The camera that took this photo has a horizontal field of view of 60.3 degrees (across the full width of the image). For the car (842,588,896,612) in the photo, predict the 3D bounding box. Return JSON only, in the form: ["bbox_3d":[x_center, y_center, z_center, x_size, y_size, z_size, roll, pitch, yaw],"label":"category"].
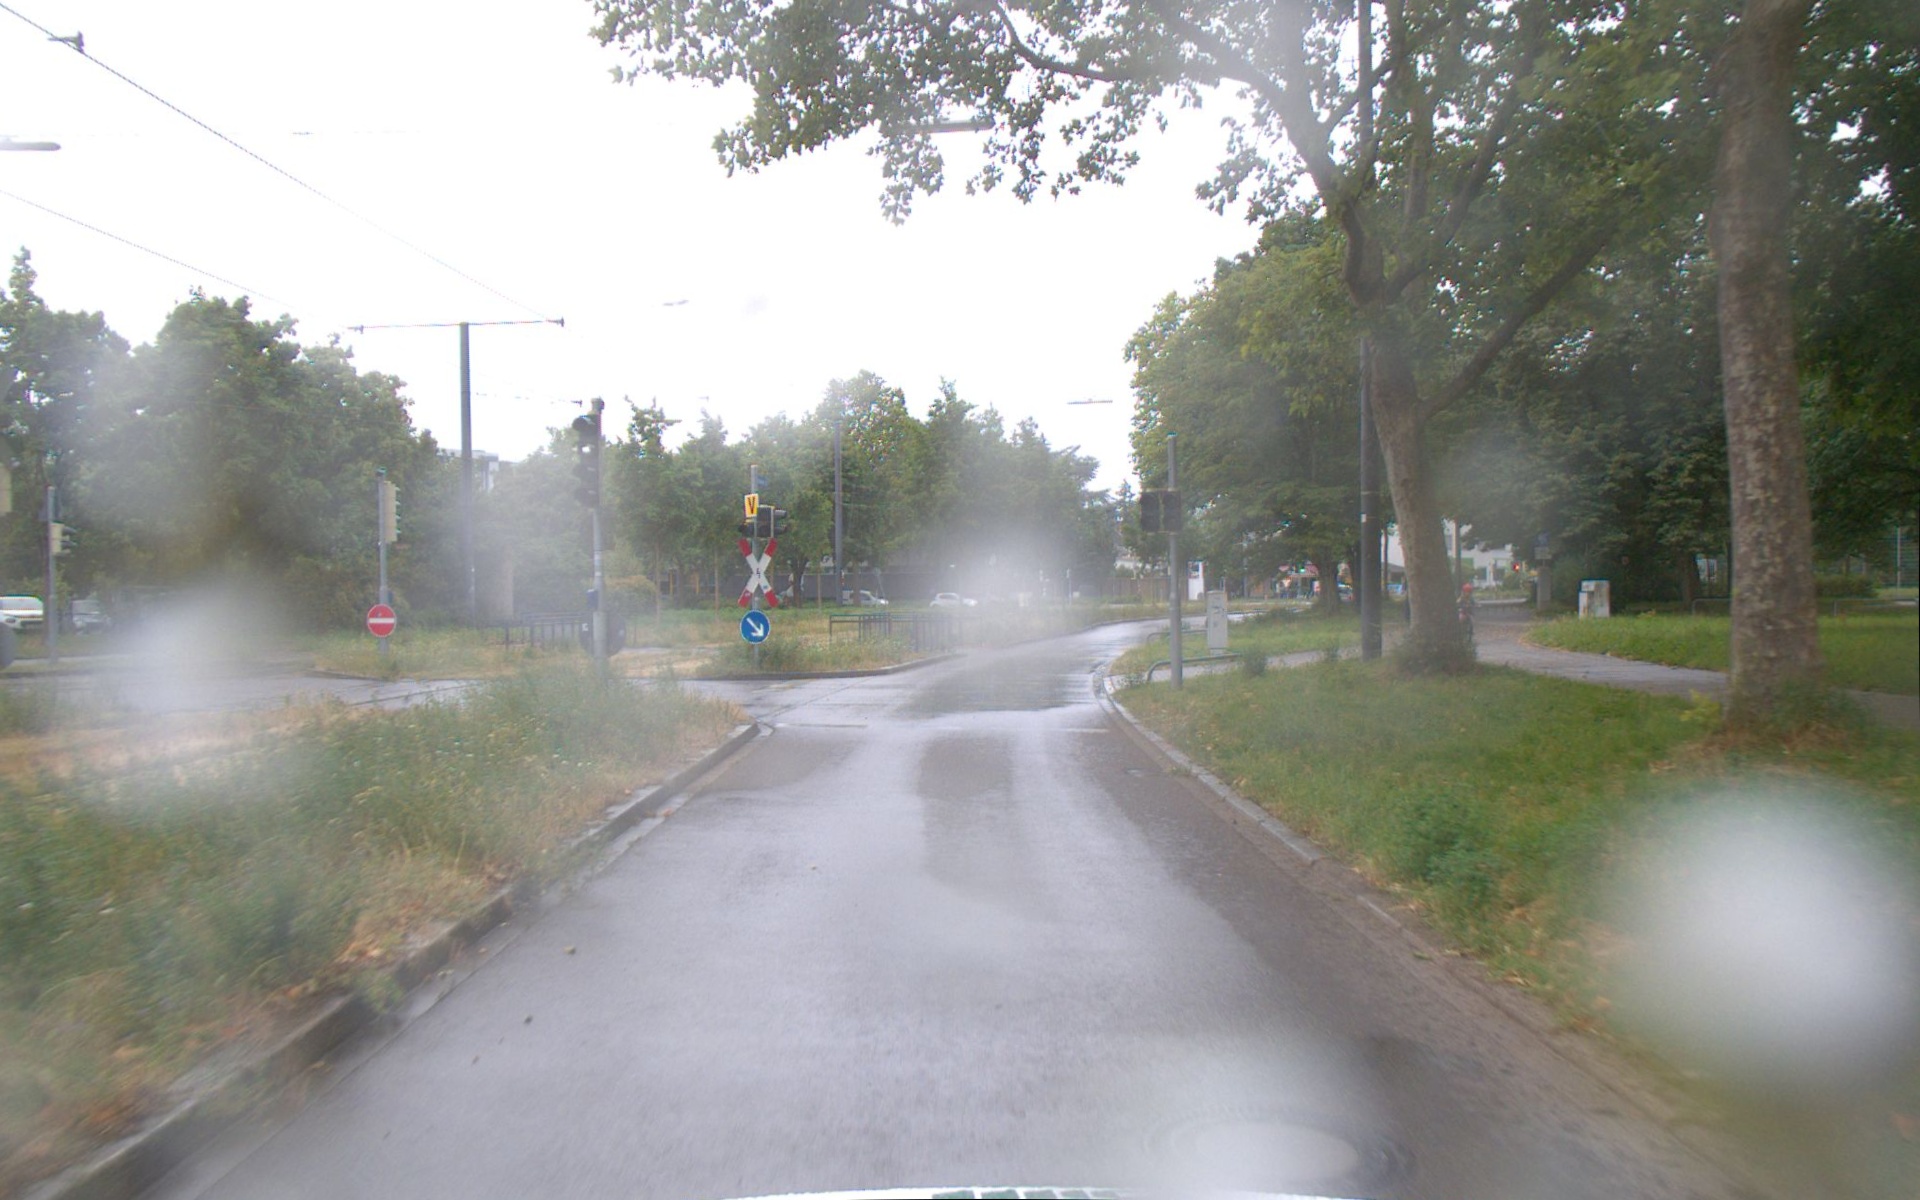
[{"bbox_3d":[-7.512,-0.010,136.253,4.120,1.827,1.653,-1,1,17],"label":"car"}]

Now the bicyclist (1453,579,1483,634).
[{"bbox_3d":[9.927,0.123,32.353,0.476,1.056,0.592,-1,0,11],"label":"bicyclist"}]

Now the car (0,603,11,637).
[{"bbox_3d":[-37.363,0.782,62.703,1.652,1.271,3.684,-2,0,-42],"label":"car"}]

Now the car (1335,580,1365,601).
[{"bbox_3d":[27.519,-0.686,116.875,1.648,1.445,3.819,-2,1,7],"label":"car"}]

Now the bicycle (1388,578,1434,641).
[{"bbox_3d":[8.903,0.174,32.705,0.696,1.162,1.974,-1,1,11],"label":"bicycle"}]

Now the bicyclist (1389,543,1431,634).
[{"bbox_3d":[8.891,-0.232,32.730,0.696,1.751,0.958,-1,1,11],"label":"bicyclist"}]

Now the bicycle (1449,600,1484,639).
[{"bbox_3d":[9.944,0.377,32.478,0.476,0.721,1.459,-1,1,11],"label":"bicycle"}]

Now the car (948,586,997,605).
[{"bbox_3d":[1.019,-0.384,137.312,3.737,1.525,1.653,-1,0,16],"label":"car"}]

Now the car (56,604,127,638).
[{"bbox_3d":[-34.660,0.838,65.967,1.652,1.271,3.684,-2,0,-42],"label":"car"}]

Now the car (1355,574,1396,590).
[{"bbox_3d":[41.965,-1.824,167.204,3.680,1.467,1.759,-1,0,30],"label":"car"}]

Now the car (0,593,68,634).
[{"bbox_3d":[-30.646,0.454,54.221,1.652,1.271,3.684,-2,0,-42],"label":"car"}]

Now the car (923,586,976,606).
[{"bbox_3d":[-0.822,-0.335,134.018,3.979,1.525,1.653,-1,0,16],"label":"car"}]
